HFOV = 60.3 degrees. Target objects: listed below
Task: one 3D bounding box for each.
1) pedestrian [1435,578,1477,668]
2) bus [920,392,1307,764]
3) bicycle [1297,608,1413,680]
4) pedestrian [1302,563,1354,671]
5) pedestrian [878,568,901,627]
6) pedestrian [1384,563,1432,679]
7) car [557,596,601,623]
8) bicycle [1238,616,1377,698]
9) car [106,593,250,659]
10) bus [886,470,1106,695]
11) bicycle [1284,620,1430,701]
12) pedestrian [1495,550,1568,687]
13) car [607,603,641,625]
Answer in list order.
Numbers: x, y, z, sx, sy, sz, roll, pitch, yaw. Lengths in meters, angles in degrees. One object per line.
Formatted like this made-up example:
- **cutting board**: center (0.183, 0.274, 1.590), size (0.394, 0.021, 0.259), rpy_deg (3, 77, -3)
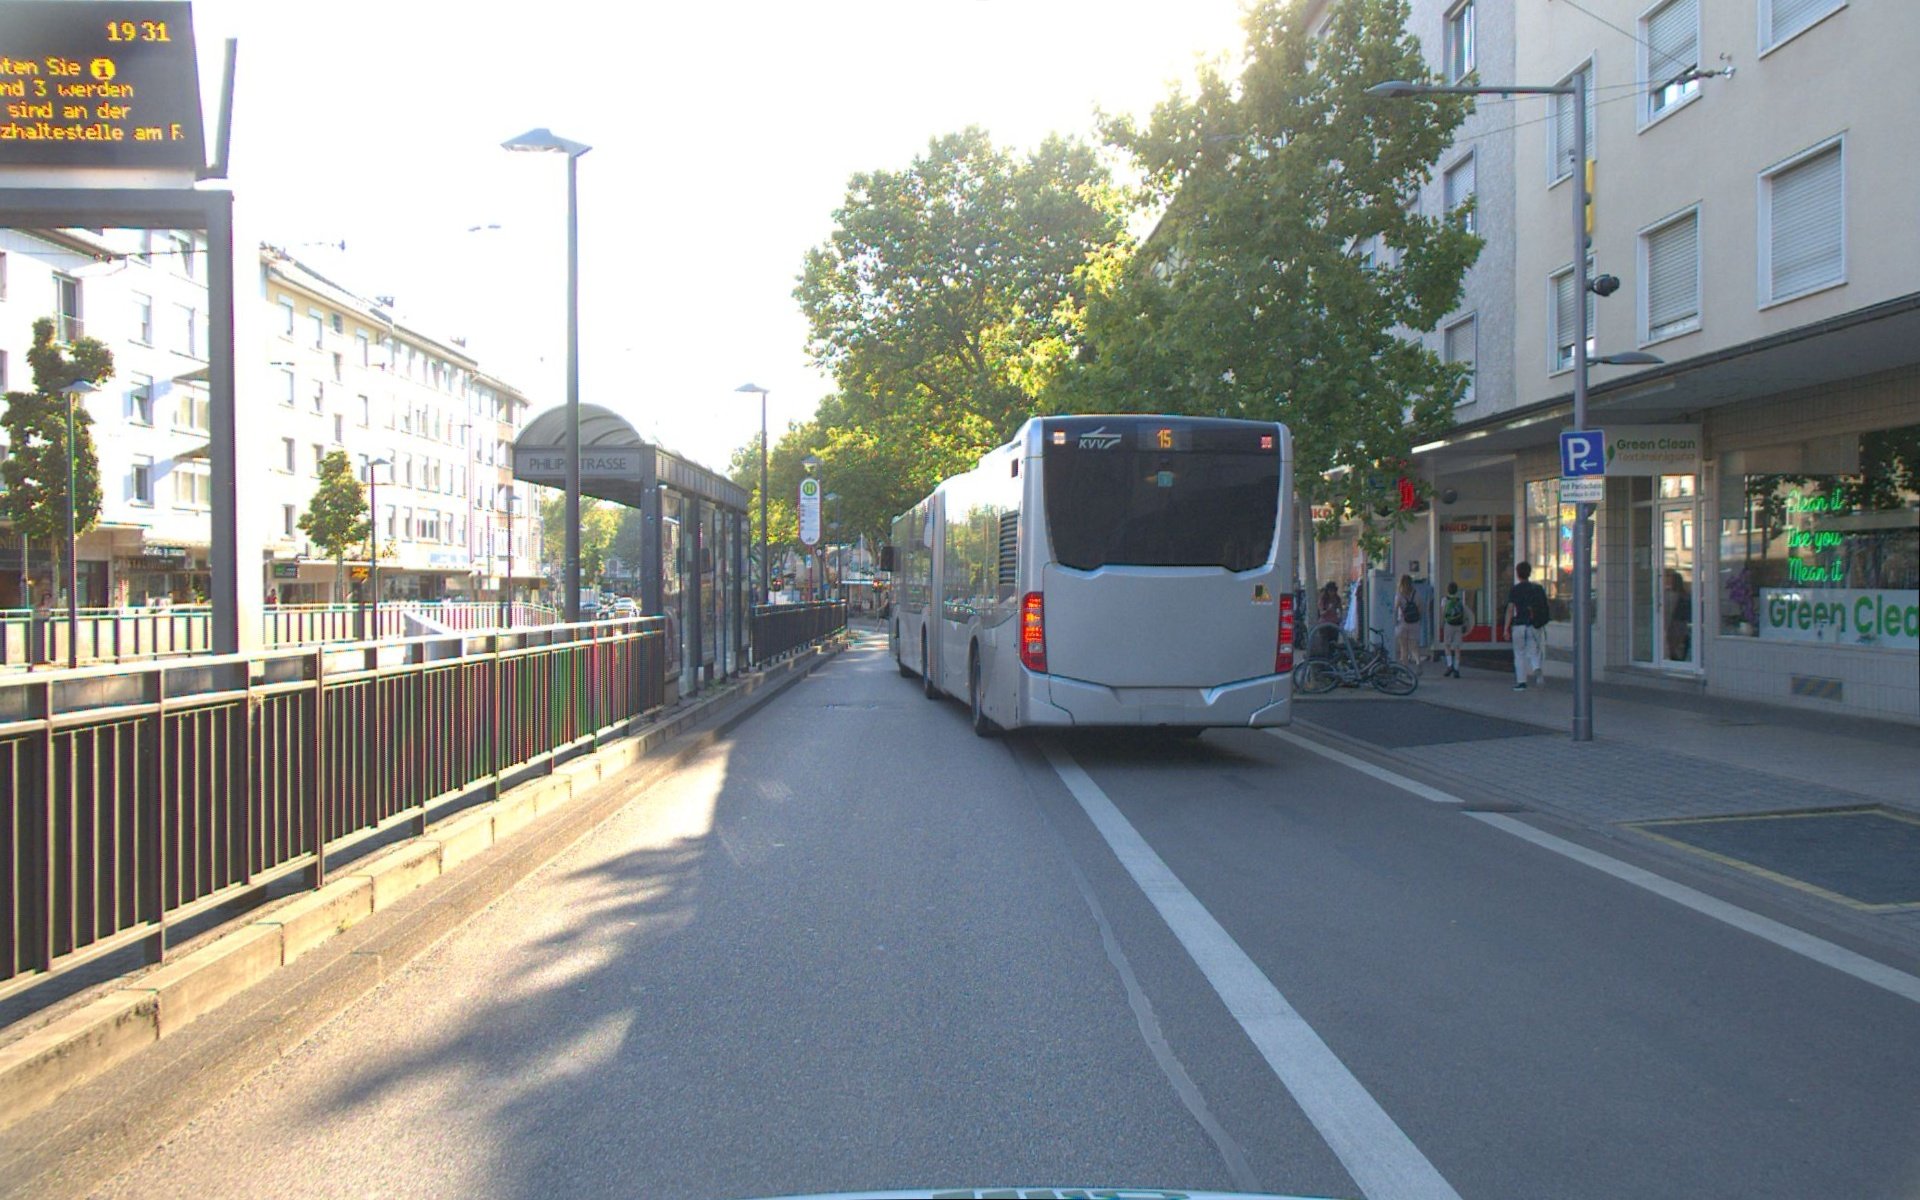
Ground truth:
- **pedestrian**: center (7.890, 0.361, 26.330), size (0.465, 1.419, 0.611), rpy_deg (0, 0, -1)
- **bus**: center (1.229, -0.209, 18.926), size (2.644, 3.172, 9.370), rpy_deg (1, 0, -6)
- **bicycle**: center (5.773, 0.636, 24.145), size (1.676, 0.958, 0.645), rpy_deg (0, -9, -37)
- **pedestrian**: center (6.327, 0.293, 28.481), size (0.709, 1.827, 0.766), rpy_deg (0, 0, -1)
- **pedestrian**: center (-3.146, -0.109, 74.000), size (0.870, 2.591, 1.164), rpy_deg (0, 0, 6)
- **pedestrian**: center (7.200, 0.329, 26.607), size (0.553, 1.827, 0.766), rpy_deg (0, 0, -1)
- **car**: center (-24.080, 0.598, 104.698), size (1.953, 1.680, 3.999), rpy_deg (0, 0, -1)
- **bicycle**: center (5.148, 0.837, 24.496), size (1.766, 0.637, 0.935), rpy_deg (-4, -34, -33)
- **car**: center (-23.524, 0.747, 49.836), size (1.740, 1.708, 3.489), rpy_deg (1, 4, 43)
- **bus**: center (0.321, -0.278, 28.125), size (2.644, 3.172, 9.059), rpy_deg (1, 0, -6)
- **bicycle**: center (5.489, 0.827, 22.929), size (1.748, 0.958, 0.793), rpy_deg (-4, 0, -6)
- **pedestrian**: center (7.743, 0.244, 22.423), size (0.709, 1.827, 0.766), rpy_deg (0, 0, -1)
- **car**: center (-26.355, 1.109, 129.929), size (1.953, 1.680, 3.999), rpy_deg (0, 0, -1)
